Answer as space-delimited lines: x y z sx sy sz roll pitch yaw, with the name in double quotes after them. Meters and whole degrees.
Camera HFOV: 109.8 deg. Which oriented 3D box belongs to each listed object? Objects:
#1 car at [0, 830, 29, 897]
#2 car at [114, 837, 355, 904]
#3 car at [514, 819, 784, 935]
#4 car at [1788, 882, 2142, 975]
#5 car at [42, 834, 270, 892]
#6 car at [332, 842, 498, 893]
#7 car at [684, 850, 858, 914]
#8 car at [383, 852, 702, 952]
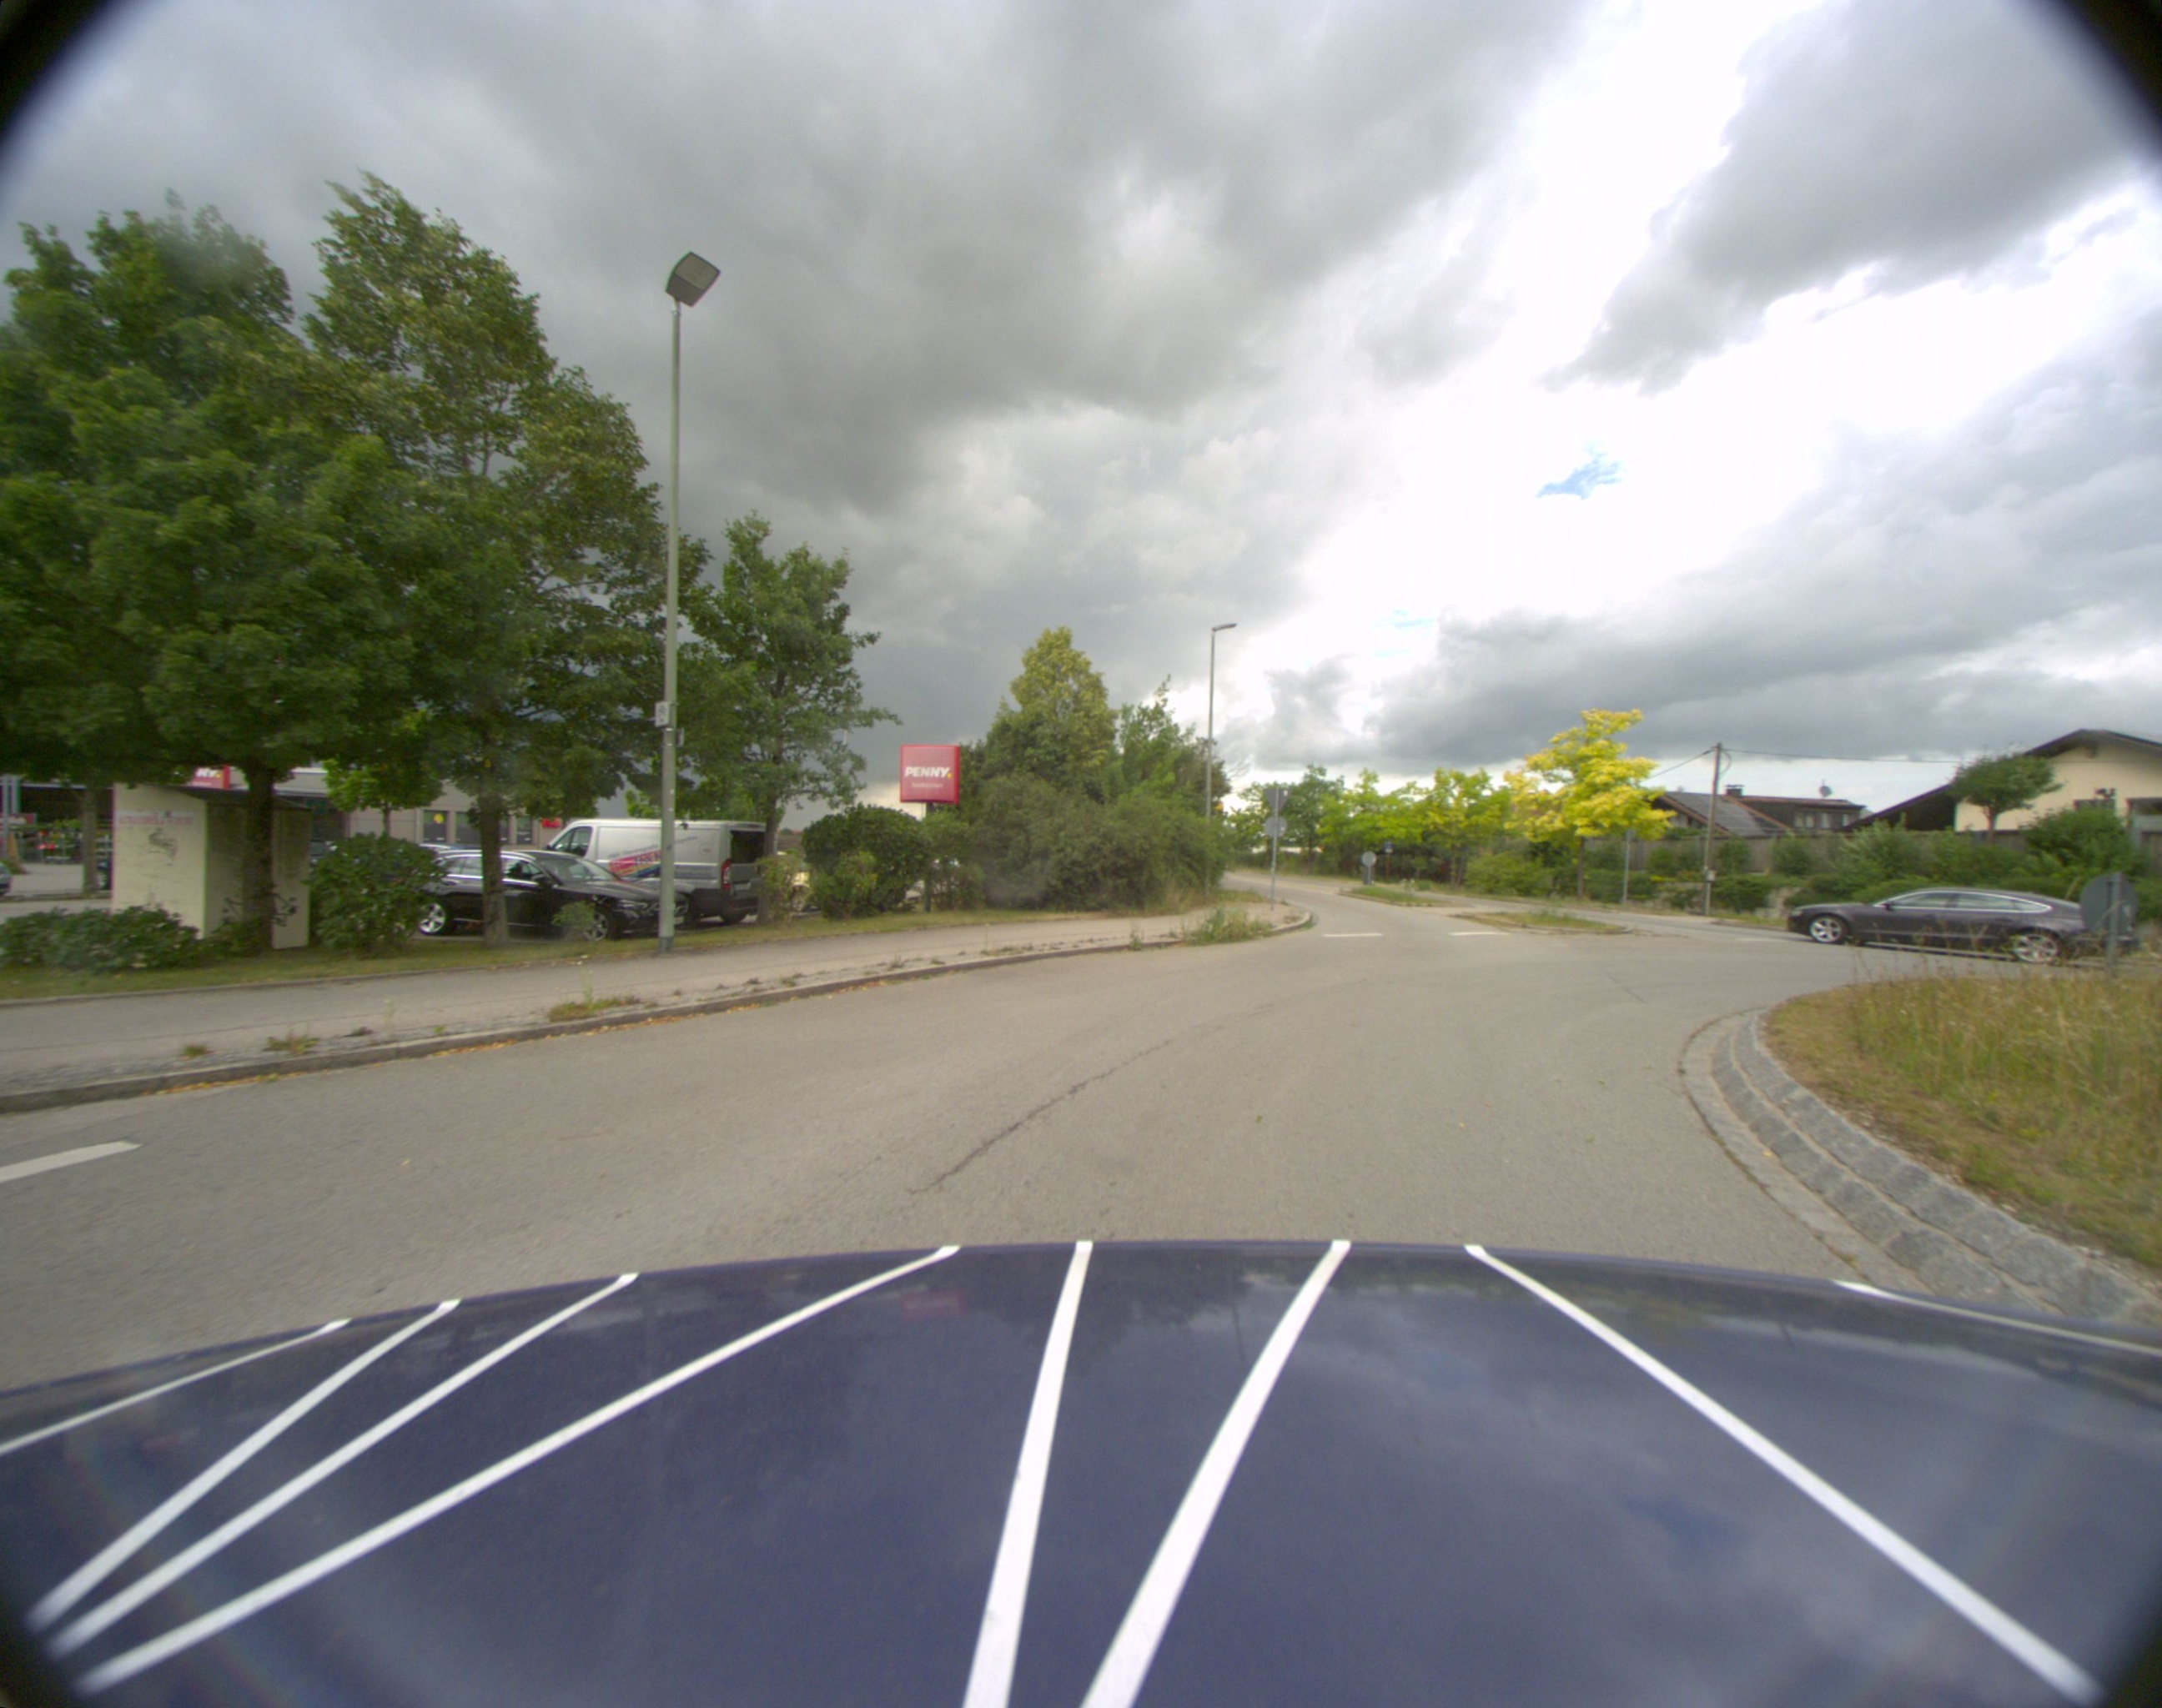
-26.396 0.272 16.885 4.081 1.502 1.876 -1 1 10 "car"
-20.625 0.359 18.624 3.996 1.533 1.821 1 2 4 "car"
-8.841 0.416 15.811 4.411 2.146 2.157 1 1 5 "car"
17.889 1.416 15.659 1.940 1.339 4.458 3 0 -31 "car"
-27.265 0.234 22.542 4.087 1.530 1.778 -2 1 -9 "car"
-20.562 0.385 23.551 3.788 1.496 1.659 0 2 4 "car"
-8.256 0.710 20.403 3.933 1.547 1.763 1 1 5 "car"
-9.202 0.766 13.188 4.411 1.485 1.763 1 1 5 "car"
